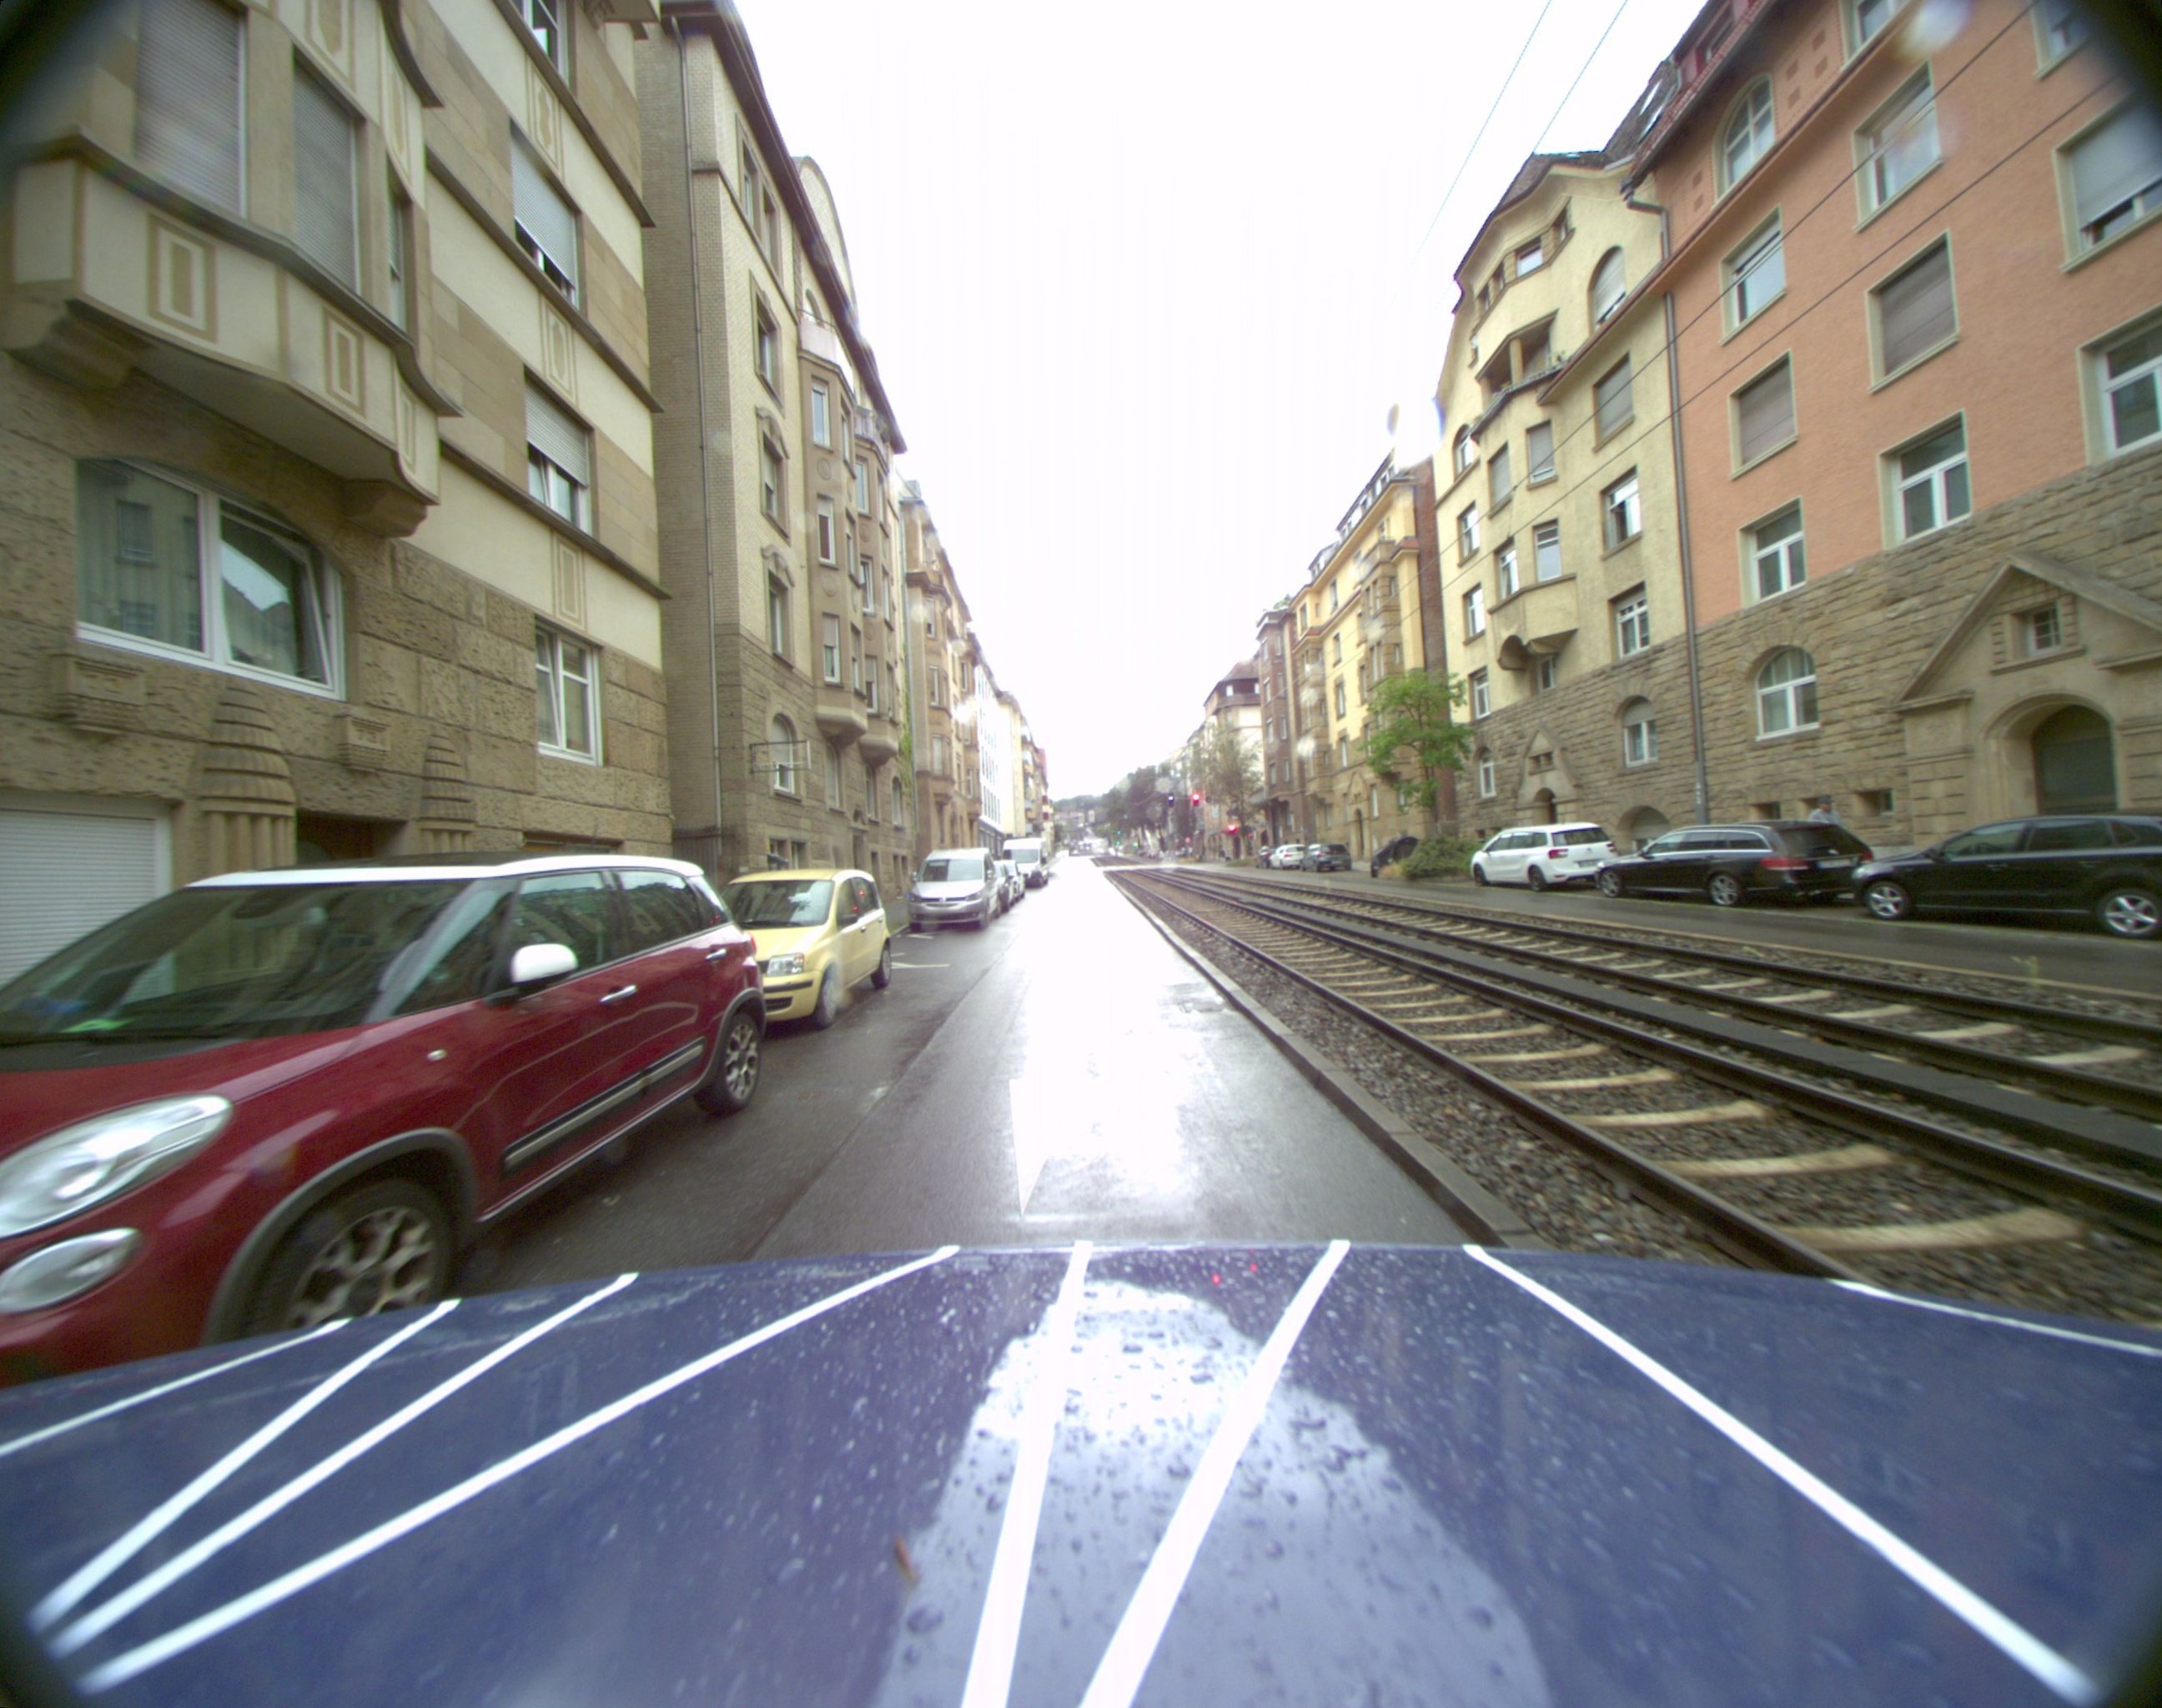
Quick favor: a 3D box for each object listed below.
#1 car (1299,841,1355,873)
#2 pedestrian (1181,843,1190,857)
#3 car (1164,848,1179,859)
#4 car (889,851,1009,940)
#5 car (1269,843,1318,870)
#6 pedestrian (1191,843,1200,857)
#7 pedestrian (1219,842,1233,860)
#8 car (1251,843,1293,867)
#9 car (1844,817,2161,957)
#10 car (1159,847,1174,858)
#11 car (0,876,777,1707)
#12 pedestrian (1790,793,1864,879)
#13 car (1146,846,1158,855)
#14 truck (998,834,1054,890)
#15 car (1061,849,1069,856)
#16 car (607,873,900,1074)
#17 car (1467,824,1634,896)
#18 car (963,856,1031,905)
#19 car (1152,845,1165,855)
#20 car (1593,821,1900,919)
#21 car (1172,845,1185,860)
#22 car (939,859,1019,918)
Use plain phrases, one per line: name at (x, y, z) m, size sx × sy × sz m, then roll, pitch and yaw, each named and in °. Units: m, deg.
car at (12.502, 0.136, 38.792) m, size 1.678 × 1.433 × 3.845 m, roll -4°, pitch 1°, yaw 3°
pedestrian at (14.891, -0.574, 107.933) m, size 1.056 × 1.946 × 1.163 m, roll -3°, pitch 1°, yaw 2°
car at (12.580, -0.075, 105.561) m, size 1.583 × 1.303 × 3.845 m, roll -3°, pitch 0°, yaw 1°
car at (-3.014, 0.868, 18.379) m, size 1.968 × 1.792 × 4.459 m, roll -3°, pitch 0°, yaw 1°
car at (12.471, 0.126, 44.831) m, size 1.771 × 1.433 × 4.031 m, roll -3°, pitch 0°, yaw 2°
pedestrian at (16.203, -0.625, 107.920) m, size 1.056 × 1.946 × 1.163 m, roll -3°, pitch 1°, yaw 2°
pedestrian at (15.862, -0.313, 83.056) m, size 1.057 × 1.946 × 1.162 m, roll -3°, pitch 1°, yaw -9°
car at (12.481, 0.075, 49.926) m, size 1.771 × 1.433 × 3.845 m, roll -3°, pitch 0°, yaw 1°
car at (12.523, 0.316, 9.644) m, size 1.935 × 1.488 × 3.642 m, roll -2°, pitch 1°, yaw -2°
car at (12.877, -0.262, 114.544) m, size 1.771 × 1.507 × 3.845 m, roll -3°, pitch 0°, yaw 1°
car at (-3.039, 0.994, 3.273) m, size 1.807 × 1.590 × 3.999 m, roll -3°, pitch 0°, yaw -1°
pedestrian at (14.820, -0.353, 15.109) m, size 0.701 × 1.633 × 0.765 m, roll -2°, pitch 1°, yaw 1°
car at (12.445, -0.614, 132.883) m, size 1.632 × 1.537 × 3.801 m, roll -3°, pitch 0°, yaw 1°
truck at (-2.725, 0.365, 39.126) m, size 2.235 × 2.521 × 6.143 m, roll -3°, pitch 0°, yaw 1°
car at (-4.042, -0.416, 193.720) m, size 1.998 × 1.838 × 4.000 m, roll -3°, pitch 0°, yaw 1°
car at (-3.195, 1.058, 8.221) m, size 1.580 × 1.520 × 3.578 m, roll -3°, pitch 0°, yaw -1°
car at (12.268, 0.138, 20.225) m, size 1.867 × 1.646 × 4.146 m, roll -3°, pitch 0°, yaw 1°
car at (-2.956, 0.902, 27.497) m, size 1.891 × 1.521 × 3.929 m, roll -3°, pitch 0°, yaw 1°
car at (12.848, -0.617, 126.014) m, size 1.657 × 1.589 × 3.775 m, roll -3°, pitch 0°, yaw 1°
car at (12.286, 0.249, 14.562) m, size 1.847 × 1.486 × 4.601 m, roll -3°, pitch 0°, yaw 1°
car at (12.678, -0.222, 98.724) m, size 1.583 × 1.669 × 3.790 m, roll -3°, pitch 2°, yaw 7°
car at (-2.967, 0.959, 22.996) m, size 1.999 × 1.521 × 3.999 m, roll -3°, pitch 0°, yaw -3°
